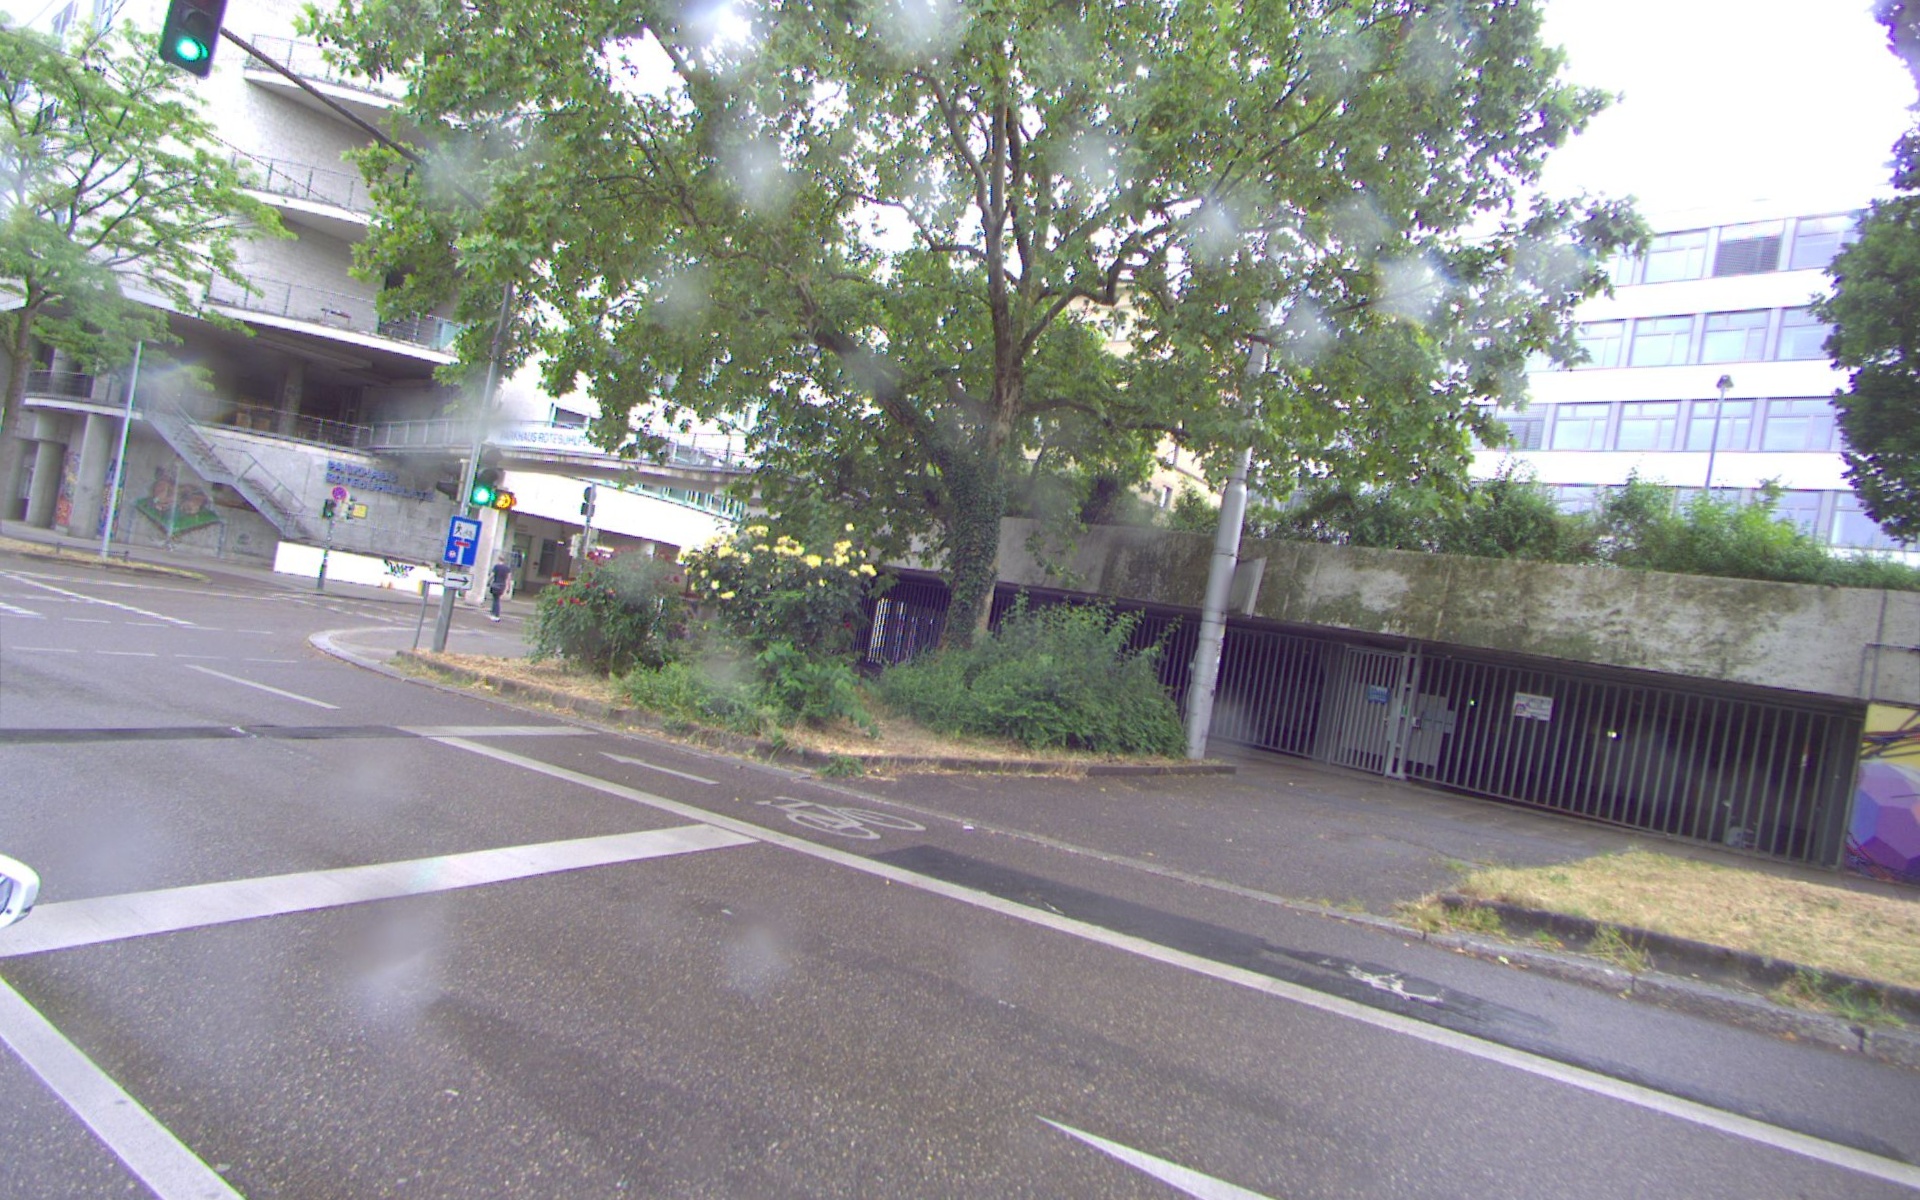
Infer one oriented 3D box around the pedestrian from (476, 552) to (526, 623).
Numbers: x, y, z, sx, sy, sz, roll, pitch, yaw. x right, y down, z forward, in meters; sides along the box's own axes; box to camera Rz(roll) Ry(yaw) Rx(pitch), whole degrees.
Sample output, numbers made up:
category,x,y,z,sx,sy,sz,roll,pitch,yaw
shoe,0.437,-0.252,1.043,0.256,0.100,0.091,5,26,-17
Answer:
category,x,y,z,sx,sy,sz,roll,pitch,yaw
pedestrian,-13.502,-0.357,29.590,0.745,1.932,0.847,7,-1,31
